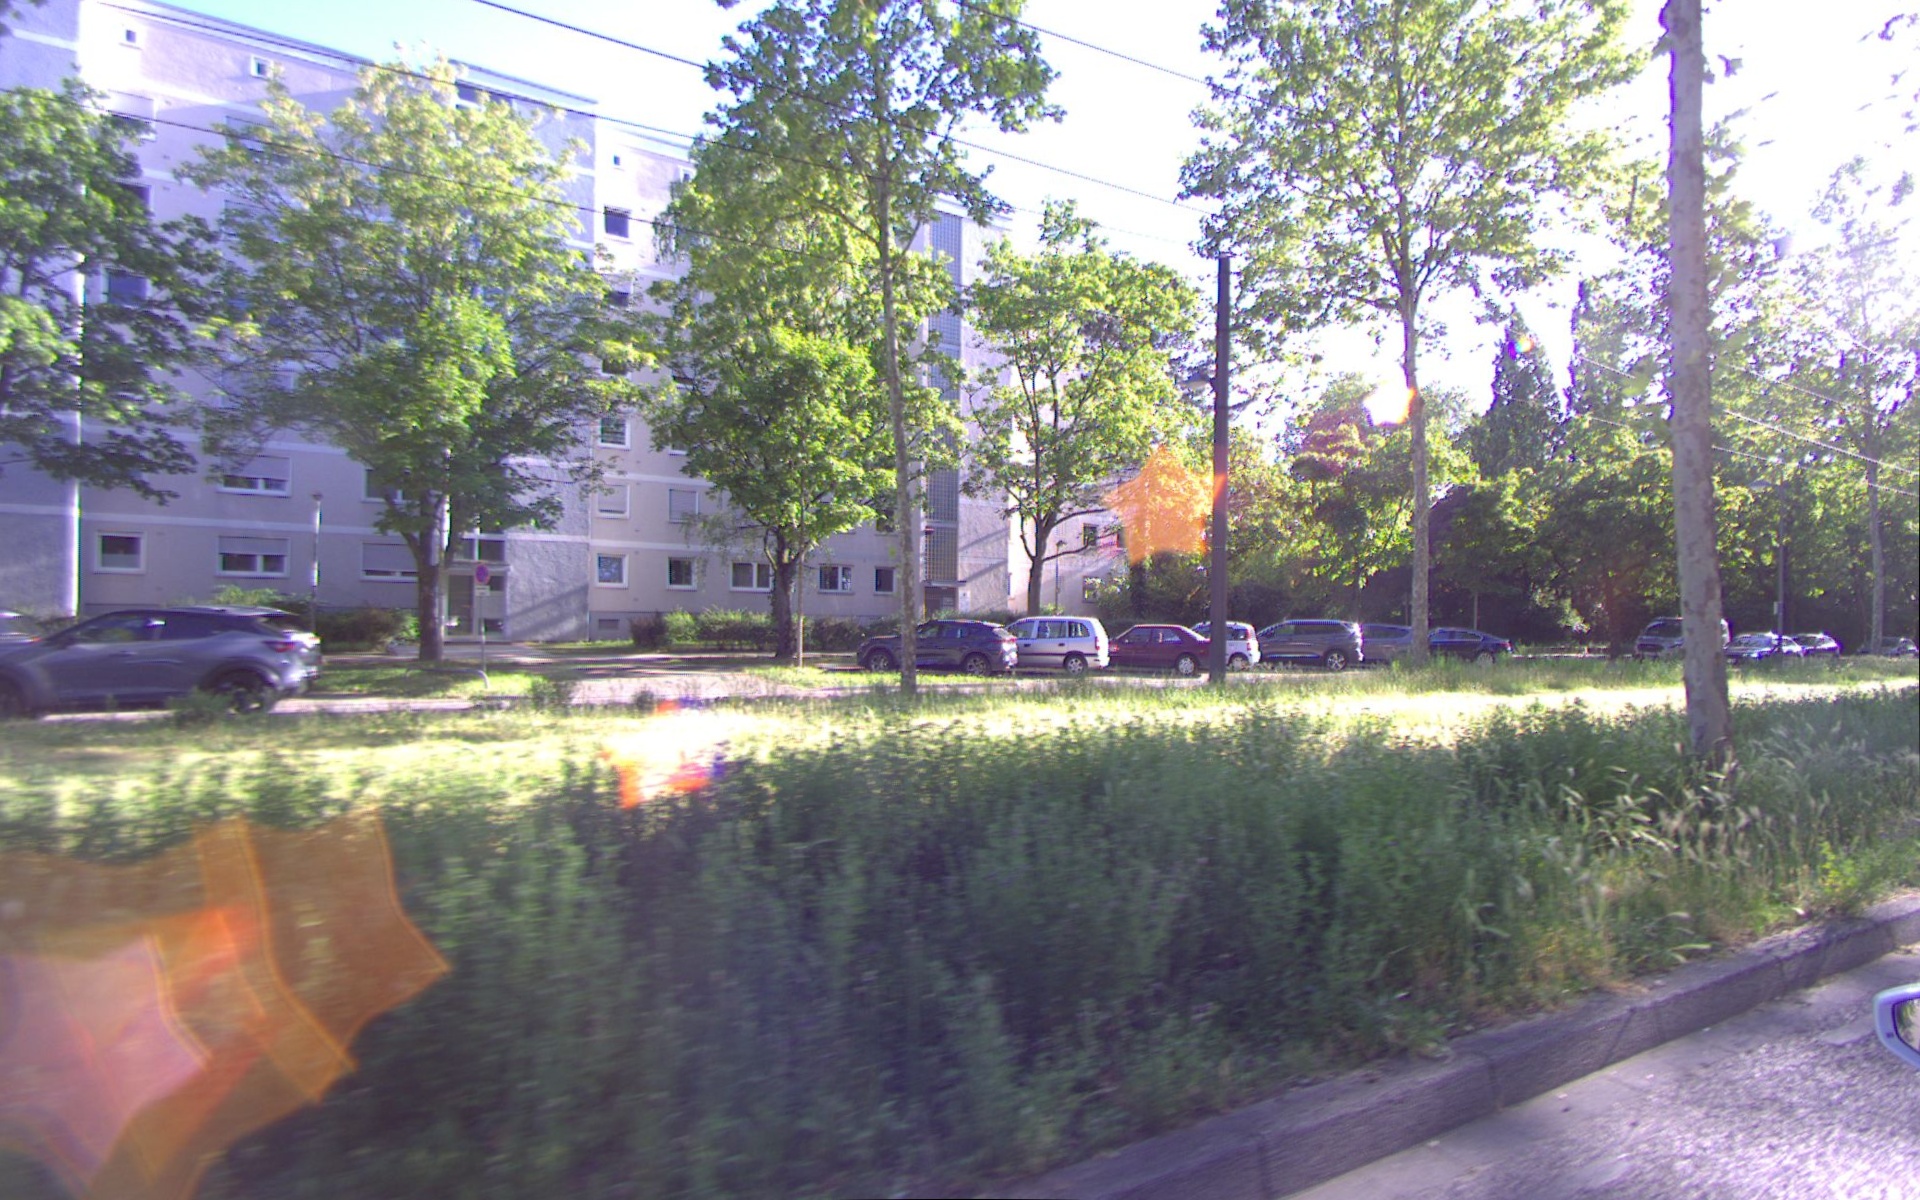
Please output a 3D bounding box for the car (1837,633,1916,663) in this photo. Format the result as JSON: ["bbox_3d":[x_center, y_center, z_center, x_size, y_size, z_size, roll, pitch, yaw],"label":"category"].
[{"bbox_3d":[50.543,2.611,55.385,3.950,1.472,1.985,1,1,-28],"label":"car"}]

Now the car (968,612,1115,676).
[{"bbox_3d":[2.360,1.232,28.782,3.900,1.697,1.788,0,-1,18],"label":"car"}]

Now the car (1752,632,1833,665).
[{"bbox_3d":[41.420,2.411,49.957,3.530,1.472,1.864,1,1,-28],"label":"car"}]

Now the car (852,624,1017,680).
[{"bbox_3d":[-0.649,1.352,26.840,4.048,1.355,1.796,0,-1,14],"label":"car"}]

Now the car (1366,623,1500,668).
[{"bbox_3d":[17.872,1.711,38.187,4.397,1.589,1.796,0,-1,18],"label":"car"}]

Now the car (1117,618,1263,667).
[{"bbox_3d":[7.499,1.355,32.817,4.401,1.501,1.617,0,-1,24],"label":"car"}]

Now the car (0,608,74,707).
[{"bbox_3d":[-16.920,0.913,16.771,4.009,1.551,1.816,0,0,27],"label":"car"}]

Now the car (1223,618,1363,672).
[{"bbox_3d":[11.250,1.502,34.084,4.397,1.697,1.796,0,-1,18],"label":"car"}]

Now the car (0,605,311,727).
[{"bbox_3d":[-11.495,0.898,13.984,4.039,1.526,1.914,1,-4,-31],"label":"car"}]

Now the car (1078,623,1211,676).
[{"bbox_3d":[5.630,1.477,30.544,3.842,1.507,1.796,0,-1,15],"label":"car"}]

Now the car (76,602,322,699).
[{"bbox_3d":[-14.170,0.867,18.709,4.007,1.628,1.993,0,0,25],"label":"car"}]

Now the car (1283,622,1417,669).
[{"bbox_3d":[13.962,1.614,36.235,4.397,1.589,1.796,0,-1,18],"label":"car"}]

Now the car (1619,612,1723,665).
[{"bbox_3d":[31.106,1.680,43.916,4.854,2.121,1.638,1,2,-29],"label":"car"}]
